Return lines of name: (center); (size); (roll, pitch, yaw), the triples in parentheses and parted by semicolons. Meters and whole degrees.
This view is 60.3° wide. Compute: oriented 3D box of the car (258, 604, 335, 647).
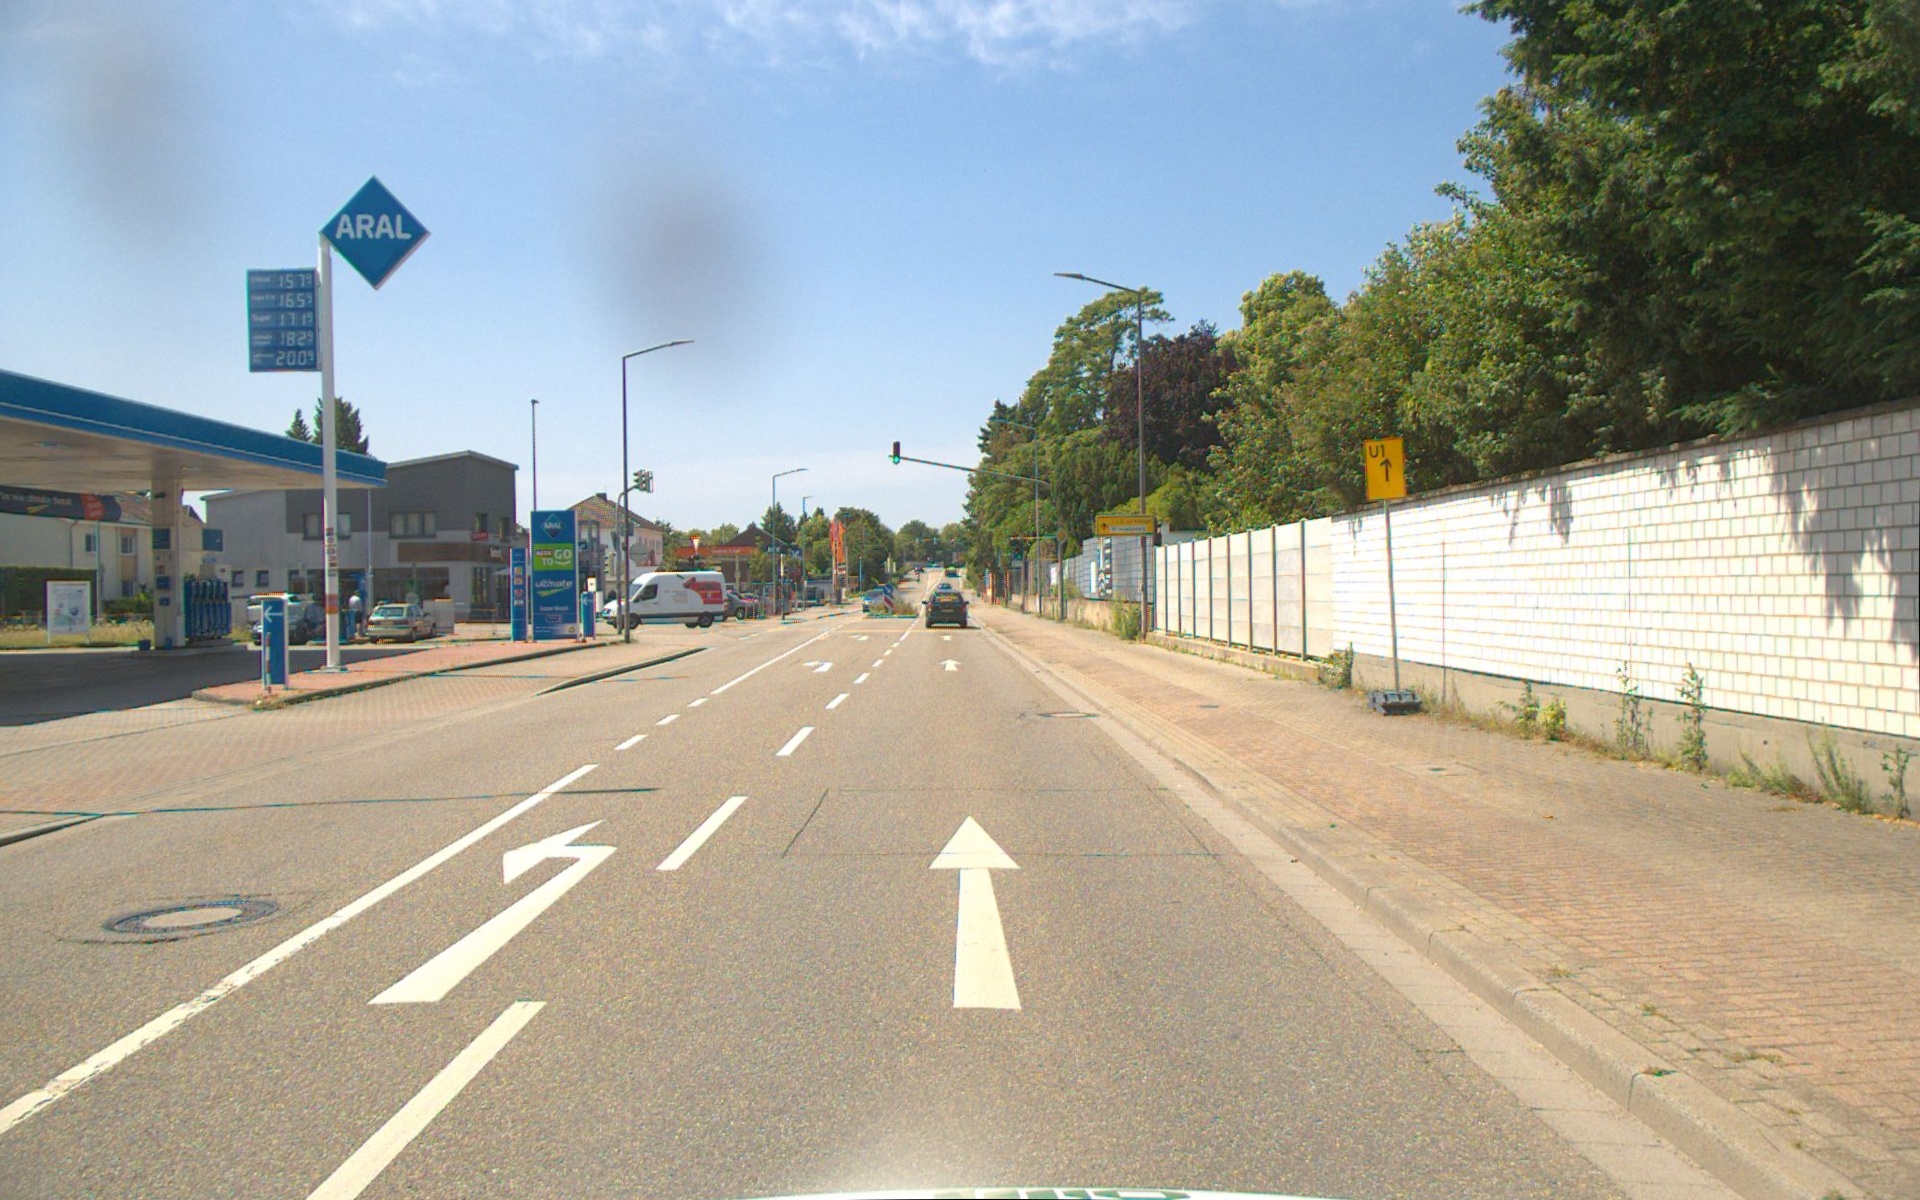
car: (-24.737, 0.935, 61.760); (1.586, 1.444, 3.708); (-3, 1, -5)

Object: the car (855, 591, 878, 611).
car: (-6.918, 0.034, 123.005); (1.554, 1.418, 3.471); (-1, 1, -1)

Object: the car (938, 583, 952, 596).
car: (-1.780, -1.291, 200.558); (1.632, 1.481, 3.471); (-1, 1, -1)

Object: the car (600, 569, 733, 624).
car: (-13.710, -0.117, 77.473); (5.875, 2.465, 1.976); (1, -1, -34)

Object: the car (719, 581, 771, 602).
car: (-16.679, -0.655, 128.337); (3.909, 1.534, 1.553); (-1, 0, -5)

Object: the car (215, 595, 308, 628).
car: (-34.616, 0.572, 82.042); (3.909, 1.534, 1.553); (-1, 0, -5)

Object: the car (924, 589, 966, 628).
car: (-0.612, 0.335, 66.482); (1.632, 1.481, 3.471); (-1, 1, -1)

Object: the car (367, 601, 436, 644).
car: (-21.038, 0.832, 62.458); (1.586, 1.444, 3.708); (-3, 1, -5)

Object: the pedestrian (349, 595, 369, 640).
pedestrian: (-23.078, 0.669, 63.479); (0.603, 1.720, 0.703); (-1, 0, -27)
